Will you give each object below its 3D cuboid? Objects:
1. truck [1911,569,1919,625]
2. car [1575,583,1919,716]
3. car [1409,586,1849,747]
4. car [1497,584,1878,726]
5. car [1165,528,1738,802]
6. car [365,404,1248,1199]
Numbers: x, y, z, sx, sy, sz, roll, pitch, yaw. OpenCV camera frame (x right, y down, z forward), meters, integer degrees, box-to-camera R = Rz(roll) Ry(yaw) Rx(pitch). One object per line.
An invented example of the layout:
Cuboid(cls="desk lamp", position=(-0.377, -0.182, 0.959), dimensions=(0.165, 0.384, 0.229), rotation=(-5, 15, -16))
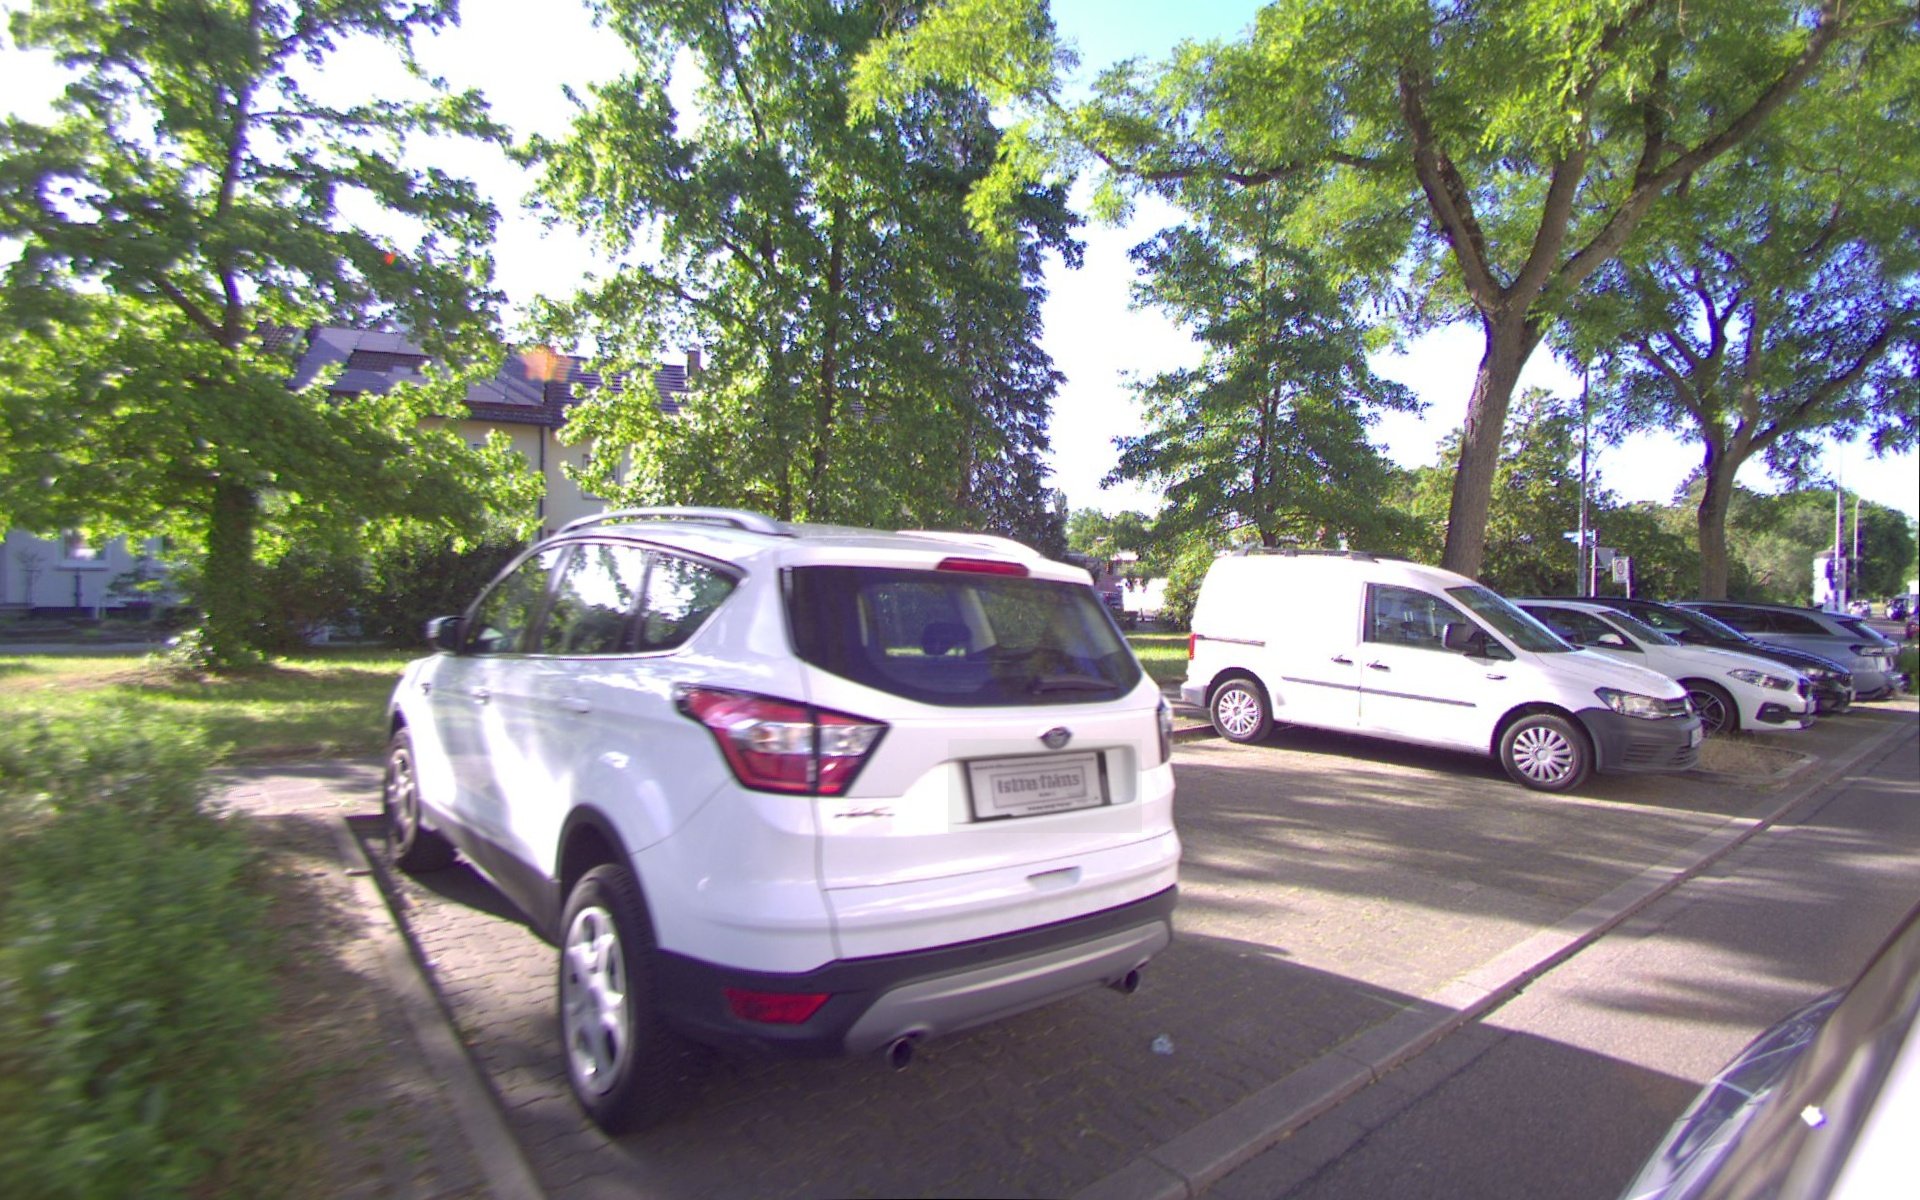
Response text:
Cuboid(cls="truck", position=(52.510, -0.128, 53.542), dimensions=(8.130, 2.836, 2.759), rotation=(0, 3, -44))
Cuboid(cls="car", position=(12.004, 0.631, 15.514), dimensions=(1.715, 1.572, 4.049), rotation=(0, 3, -42))
Cuboid(cls="car", position=(7.942, 0.649, 12.330), dimensions=(1.715, 1.425, 4.146), rotation=(0, 3, -42))
Cuboid(cls="car", position=(9.928, 0.637, 14.059), dimensions=(1.715, 1.680, 4.046), rotation=(0, 0, -42))
Cuboid(cls="car", position=(4.264, 0.374, 9.355), dimensions=(1.717, 1.945, 4.436), rotation=(0, 2, -45))
Cuboid(cls="car", position=(-1.067, 0.452, 4.126), dimensions=(1.714, 1.786, 4.050), rotation=(0, 1, -40))
